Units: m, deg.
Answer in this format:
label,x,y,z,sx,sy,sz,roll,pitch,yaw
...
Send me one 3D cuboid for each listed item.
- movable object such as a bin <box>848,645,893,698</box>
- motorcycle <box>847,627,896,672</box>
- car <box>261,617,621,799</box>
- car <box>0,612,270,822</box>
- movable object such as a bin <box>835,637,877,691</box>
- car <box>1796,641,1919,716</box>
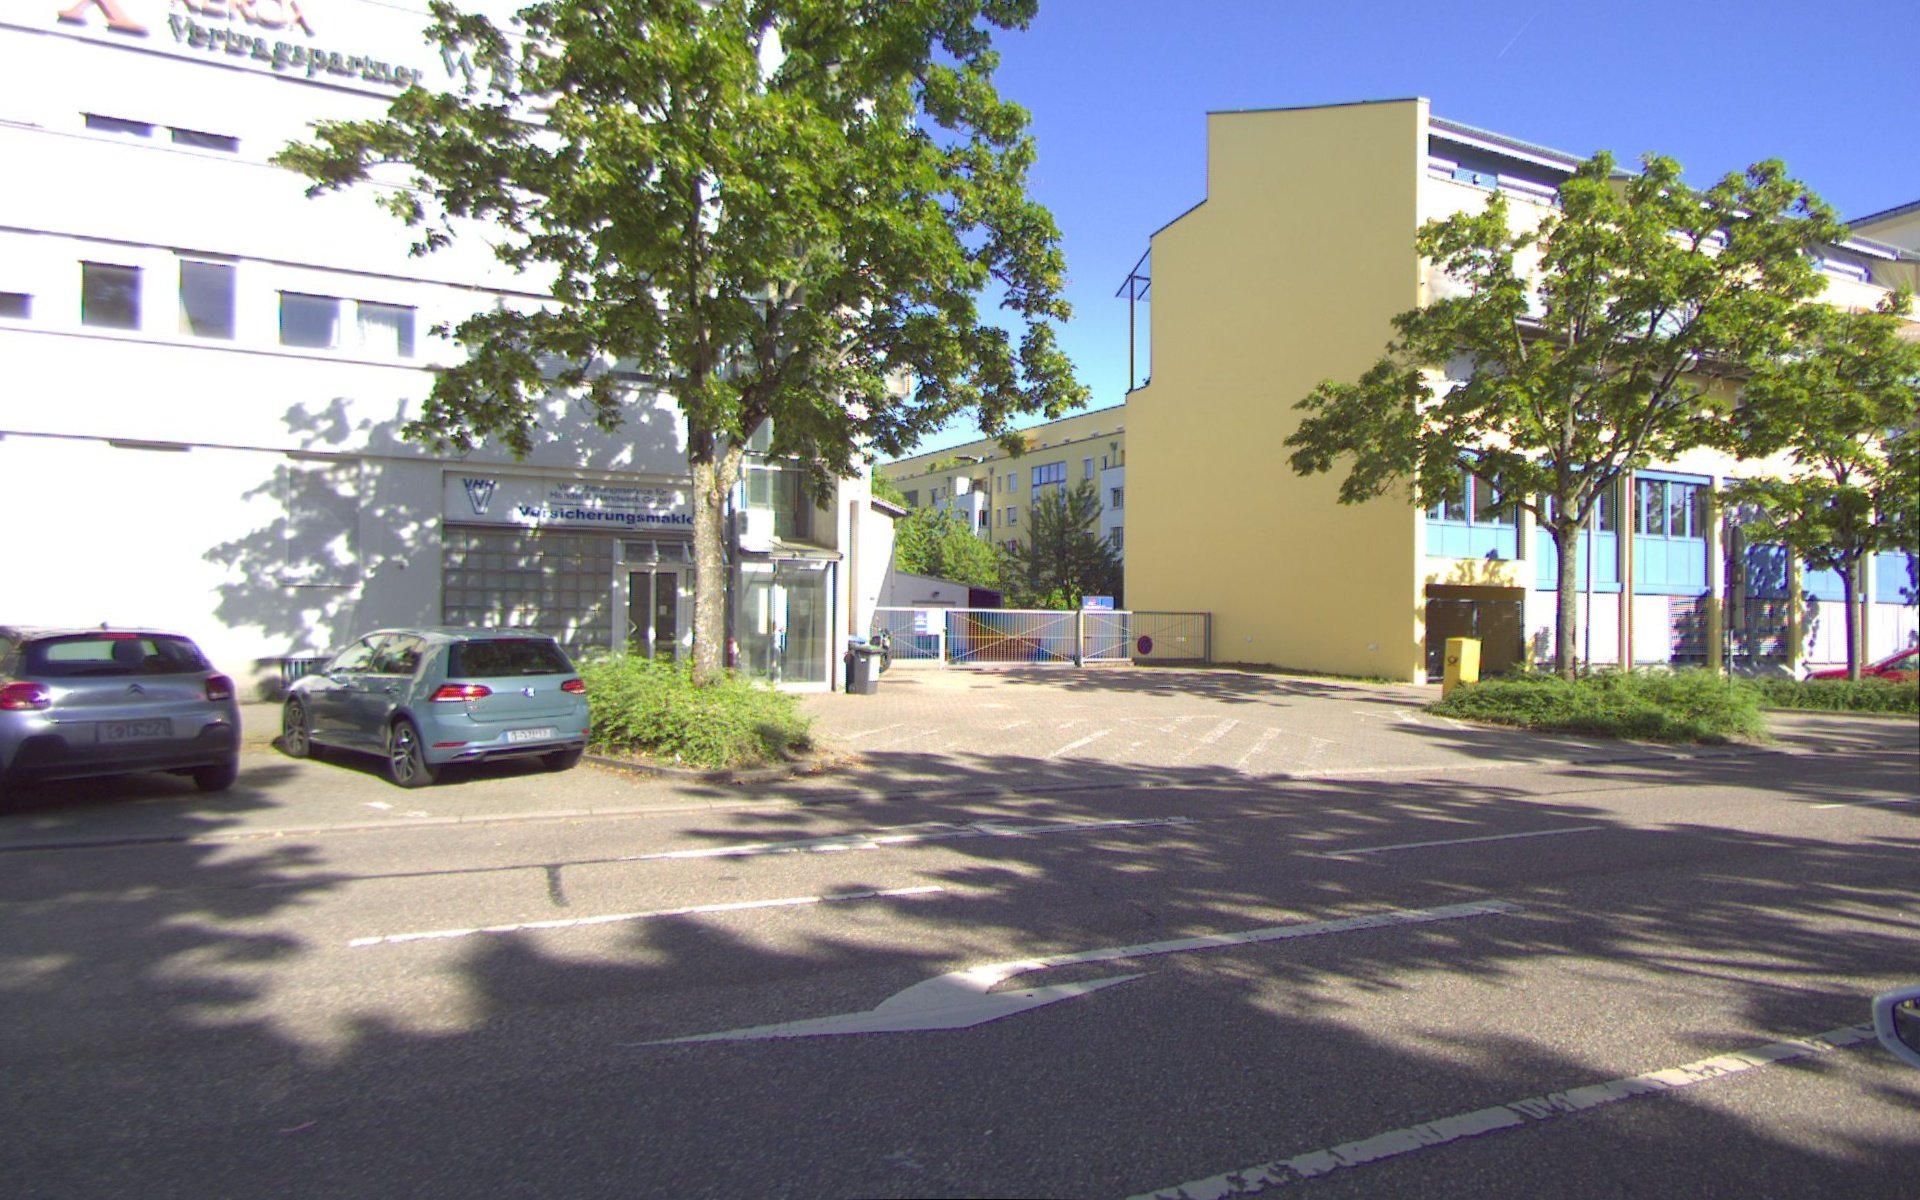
label,x,y,z,sx,sy,sz,roll,pitch,yaw
movable object such as a bin,-1.701,1.348,19.126,0.706,0.962,0.464,2,-1,-32
motorcycle,-2.425,1.318,27.163,0.898,1.142,2.936,1,-2,-14
car,-5.551,0.993,10.619,3.822,1.530,1.822,0,-2,36
car,-8.197,0.897,9.220,3.822,1.530,1.823,0,-2,35
movable object such as a bin,-2.111,1.296,20.444,0.706,1.068,0.464,2,-1,-32
car,21.201,1.723,22.010,4.359,1.572,1.911,-1,-3,43
